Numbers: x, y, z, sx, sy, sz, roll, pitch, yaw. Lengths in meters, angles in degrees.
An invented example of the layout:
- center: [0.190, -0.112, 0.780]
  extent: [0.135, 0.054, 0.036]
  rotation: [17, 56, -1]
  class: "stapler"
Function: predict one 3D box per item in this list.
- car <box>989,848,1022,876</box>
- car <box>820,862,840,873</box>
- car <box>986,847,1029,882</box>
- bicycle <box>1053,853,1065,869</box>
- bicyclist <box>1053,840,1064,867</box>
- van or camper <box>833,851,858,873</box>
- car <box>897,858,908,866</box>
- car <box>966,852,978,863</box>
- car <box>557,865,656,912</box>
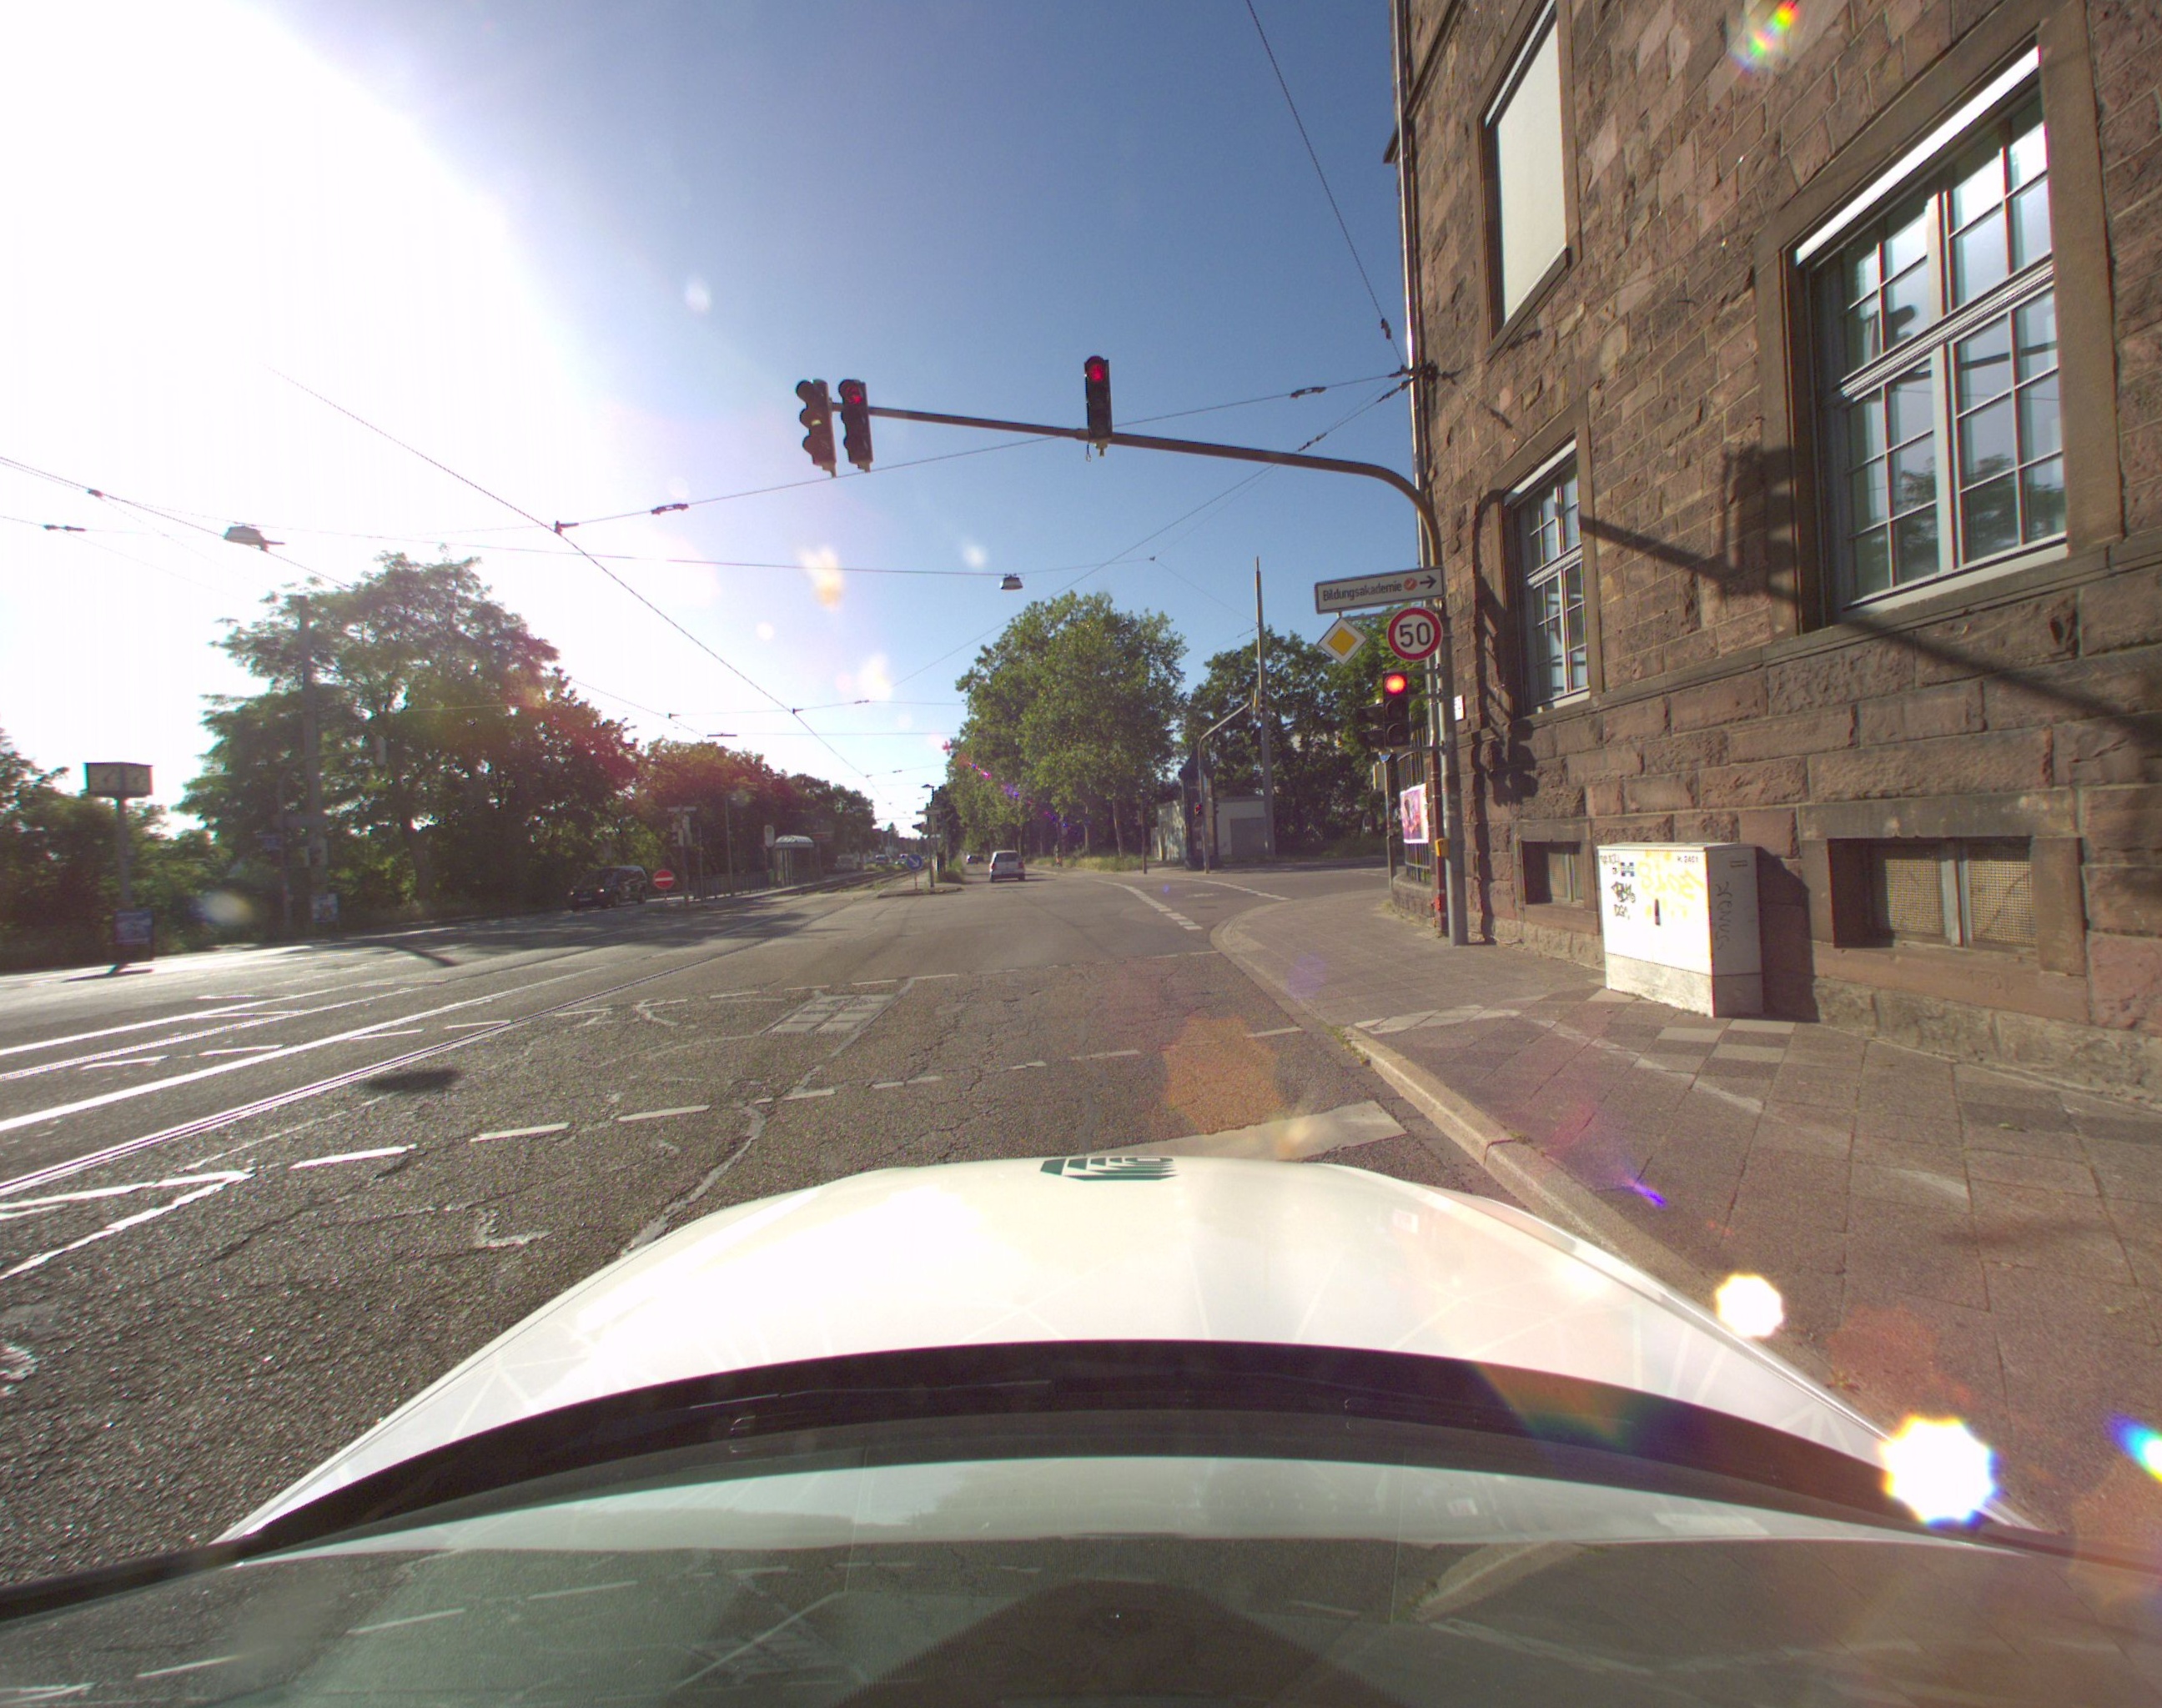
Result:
- center: [-4.583, 0.443, 48.900]
  extent: [1.750, 1.604, 3.739]
  rotation: [0, 0, -9]
  class: "car"
- center: [-34.419, 1.858, 111.678]
  extent: [1.919, 1.266, 3.990]
  rotation: [-4, 0, -7]
  class: "car"
- center: [-3.461, 0.470, 38.448]
  extent: [1.865, 1.486, 3.548]
  rotation: [-3, 0, -6]
  class: "car"
- center: [-1.498, 0.485, 55.067]
  extent: [0.536, 1.066, 1.428]
  rotation: [-4, 0, -10]
  class: "bicycle"
- center: [-1.543, -0.016, 55.156]
  extent: [0.534, 1.769, 0.710]
  rotation: [-4, 0, -11]
  class: "bicyclist"
- center: [-35.852, 1.259, 124.207]
  extent: [2.589, 3.106, 6.768]
  rotation: [-4, 0, -9]
  class: "van or camper"
- center: [-37.795, 1.669, 172.450]
  extent: [1.919, 1.567, 3.990]
  rotation: [-4, 0, -7]
  class: "car"
- center: [-17.474, 0.573, 130.906]
  extent: [1.750, 1.604, 3.569]
  rotation: [-4, 1, -9]
  class: "car"
- center: [-20.645, 1.453, 35.711]
  extent: [1.994, 1.767, 5.014]
  rotation: [-4, 0, -9]
  class: "car"
